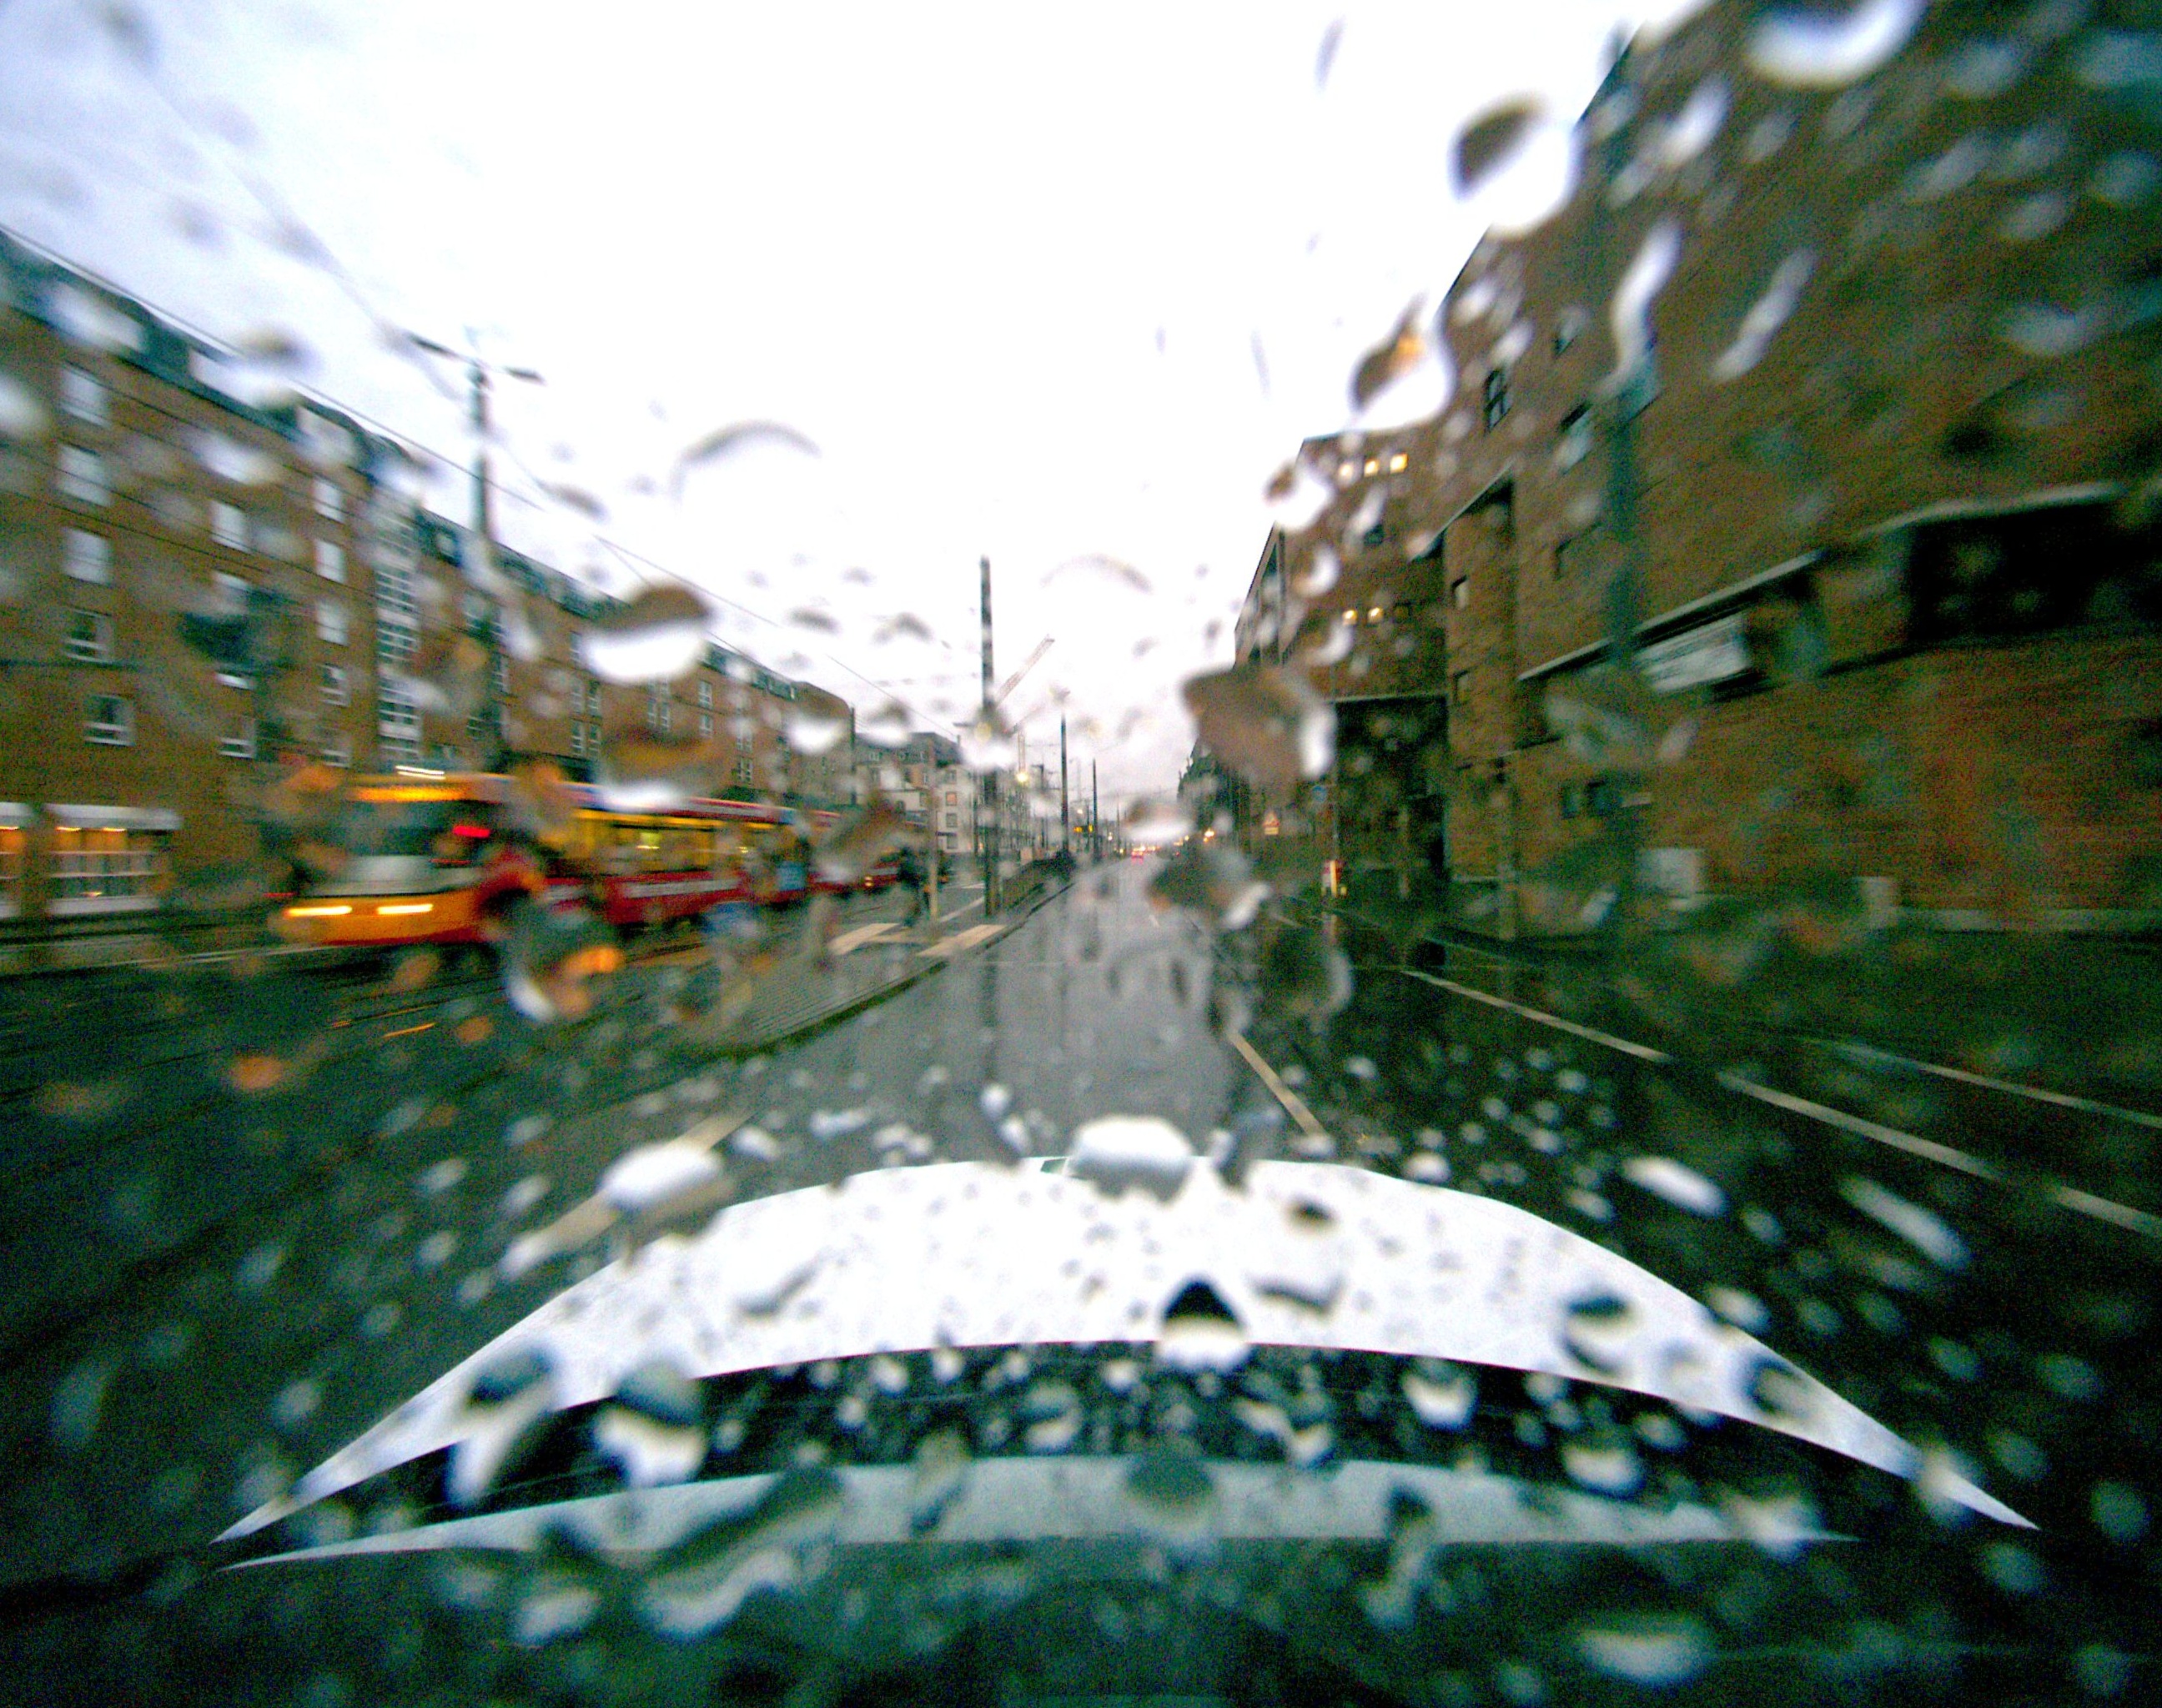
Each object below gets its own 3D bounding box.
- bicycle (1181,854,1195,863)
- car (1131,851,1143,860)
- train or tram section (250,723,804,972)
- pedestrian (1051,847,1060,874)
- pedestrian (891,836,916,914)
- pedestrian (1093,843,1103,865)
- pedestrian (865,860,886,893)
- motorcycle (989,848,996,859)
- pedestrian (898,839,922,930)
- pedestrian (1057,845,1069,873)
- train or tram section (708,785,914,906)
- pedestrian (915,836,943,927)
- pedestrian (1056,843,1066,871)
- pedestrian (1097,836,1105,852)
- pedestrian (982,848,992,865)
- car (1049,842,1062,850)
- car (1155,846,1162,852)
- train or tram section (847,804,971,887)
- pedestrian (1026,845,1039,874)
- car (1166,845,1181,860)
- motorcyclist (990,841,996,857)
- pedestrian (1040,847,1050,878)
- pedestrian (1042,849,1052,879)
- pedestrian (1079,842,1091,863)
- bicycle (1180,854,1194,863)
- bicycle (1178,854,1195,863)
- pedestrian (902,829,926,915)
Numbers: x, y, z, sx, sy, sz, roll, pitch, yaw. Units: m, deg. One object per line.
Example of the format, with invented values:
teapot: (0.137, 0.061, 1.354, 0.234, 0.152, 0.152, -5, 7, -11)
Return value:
bicycle: (13.274, 0.571, 101.280, 1.722, 1.055, 0.371, -3, 0, 3)
car: (9.401, 0.256, 135.767, 1.775, 1.467, 3.154, -1, 0, 6)
train or tram section: (-10.158, -0.154, 17.932, 2.936, 3.589, 12.273, 0, 0, 5)
pedestrian: (-1.584, 0.406, 50.654, 0.537, 1.692, 0.644, -1, 0, 2)
pedestrian: (-3.999, 0.472, 18.397, 0.432, 1.735, 0.473, -1, 0, -1)
pedestrian: (1.523, -0.037, 73.864, 0.806, 1.947, 0.806, -1, 0, 5)
pedestrian: (-7.424, 0.801, 29.431, 0.577, 1.152, 0.491, 0, 0, 6)
motorcycle: (-8.338, -0.037, 76.809, 0.511, 1.008, 1.807, 0, 0, 1)
pedestrian: (-3.404, 0.591, 16.270, 0.358, 1.786, 0.440, -1, 0, -1)
pedestrian: (-1.131, 0.296, 51.039, 0.646, 1.704, 0.565, -1, 0, -14)
train or tram section: (-9.149, -0.304, 29.609, 2.911, 3.578, 11.051, 0, 0, 5)
pedestrian: (-3.129, 0.557, 16.792, 0.410, 1.845, 0.669, -1, 0, 0)
pedestrian: (-1.178, 0.184, 47.735, 0.537, 1.590, 0.563, -1, 0, 2)
pedestrian: (1.898, -0.972, 78.887, 0.679, 1.516, 0.617, -1, 0, -8)
pedestrian: (-8.457, 0.203, 73.344, 0.639, 1.524, 0.748, 0, 0, -37)
car: (-4.120, -1.244, 130.592, 1.674, 1.354, 3.549, 0, 0, 4)
car: (19.906, -1.274, 209.330, 1.789, 1.604, 3.777, -2, 0, 7)
train or tram section: (-8.159, -0.400, 40.583, 2.886, 3.567, 11.051, 0, 0, 5)
pedestrian: (-2.653, 0.289, 44.747, 0.615, 1.590, 0.622, -1, 0, 2)
car: (12.976, -0.260, 114.654, 1.983, 2.013, 4.008, -1, 0, 6)
motorcyclist: (-8.340, -0.446, 76.811, 0.497, 1.496, 0.556, 0, 0, -1)
pedestrian: (-1.971, 0.461, 44.367, 0.479, 1.678, 0.563, -1, 0, 2)
pedestrian: (-1.805, 0.509, 43.353, 0.479, 1.590, 0.563, -1, 0, 2)
pedestrian: (0.344, -0.097, 66.650, 0.777, 1.704, 0.769, -1, 0, -14)
bicycle: (13.245, 0.569, 102.009, 1.722, 1.055, 0.371, -3, 0, 3)
bicycle: (13.658, 0.590, 105.203, 2.135, 1.055, 0.485, -3, 0, 3)
pedestrian: (-3.878, 0.415, 18.968, 0.432, 1.967, 0.473, -1, 0, -1)
